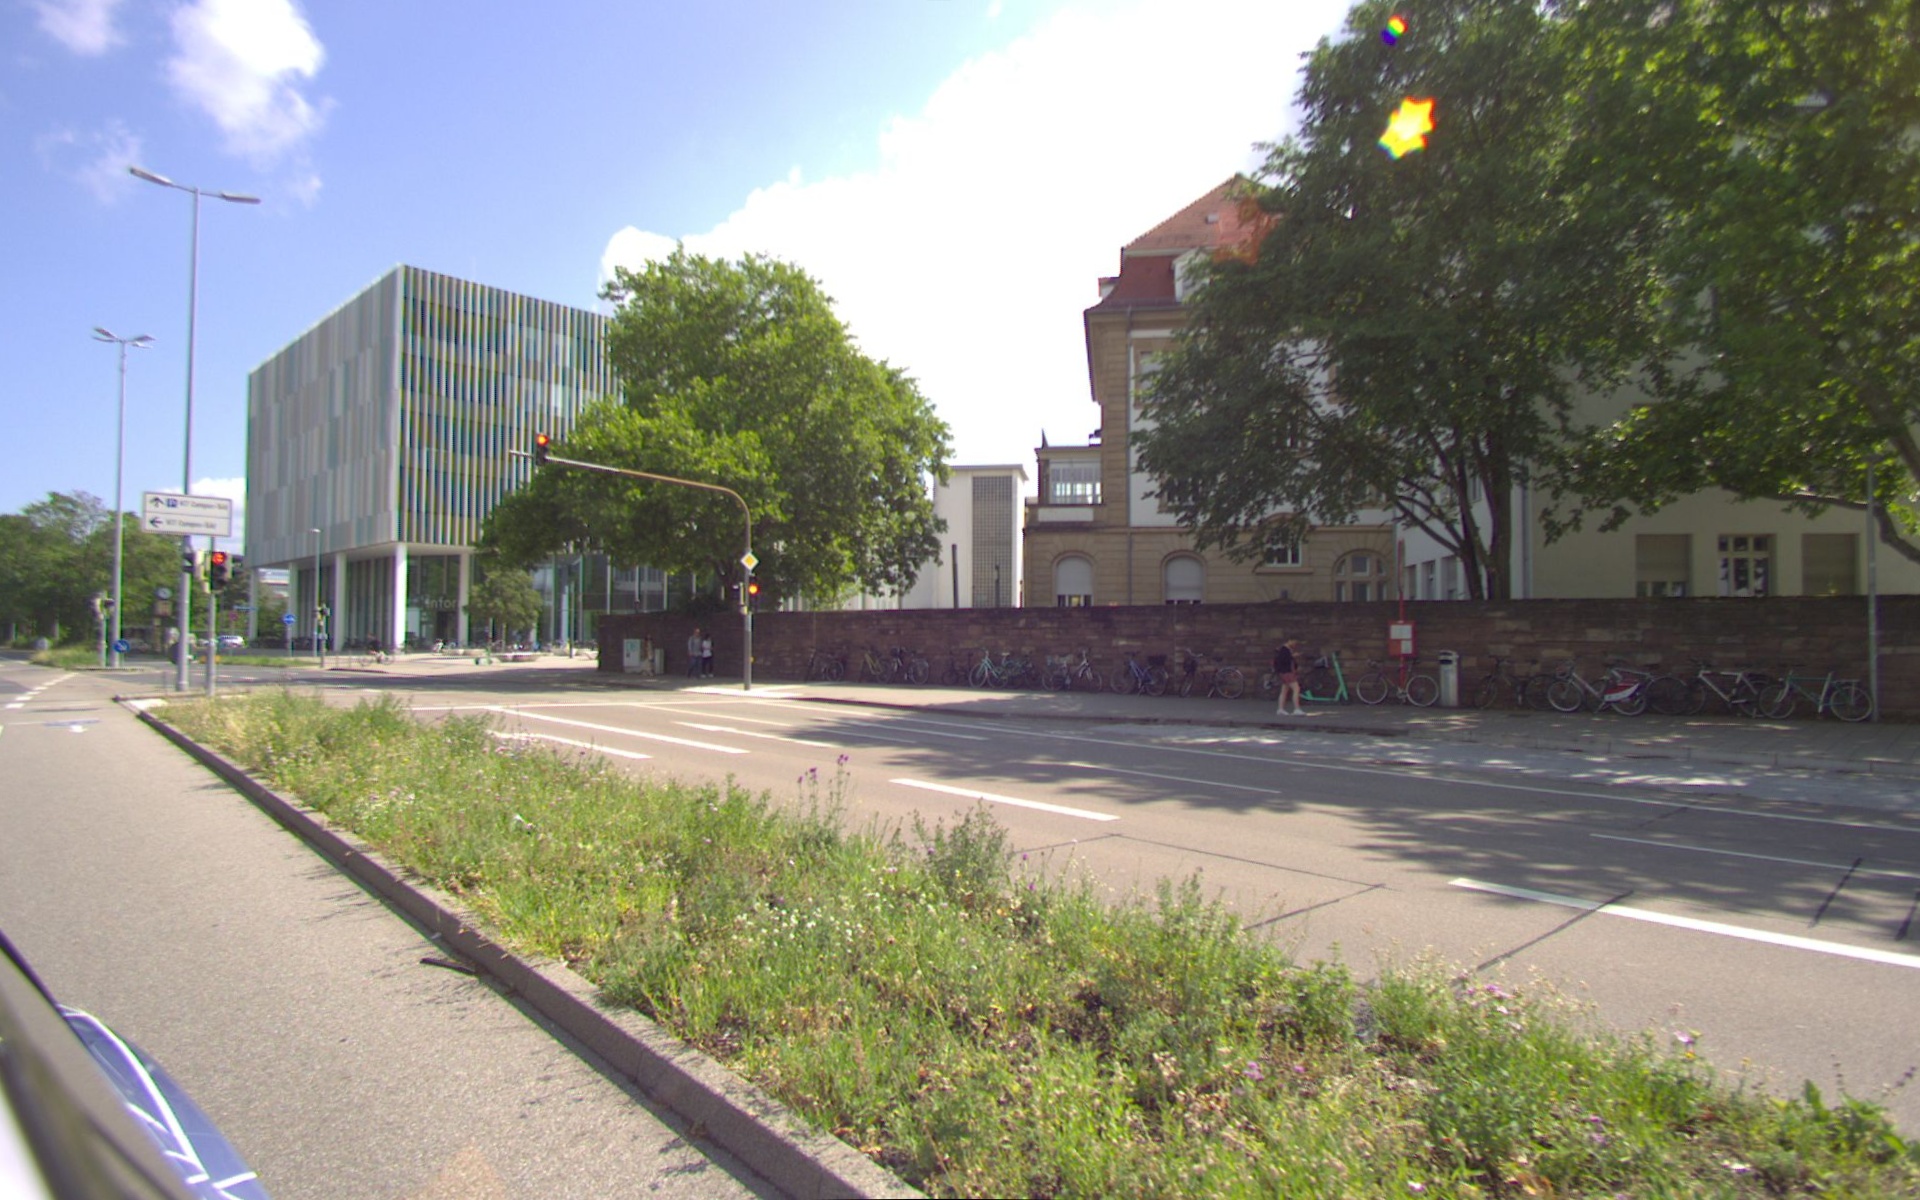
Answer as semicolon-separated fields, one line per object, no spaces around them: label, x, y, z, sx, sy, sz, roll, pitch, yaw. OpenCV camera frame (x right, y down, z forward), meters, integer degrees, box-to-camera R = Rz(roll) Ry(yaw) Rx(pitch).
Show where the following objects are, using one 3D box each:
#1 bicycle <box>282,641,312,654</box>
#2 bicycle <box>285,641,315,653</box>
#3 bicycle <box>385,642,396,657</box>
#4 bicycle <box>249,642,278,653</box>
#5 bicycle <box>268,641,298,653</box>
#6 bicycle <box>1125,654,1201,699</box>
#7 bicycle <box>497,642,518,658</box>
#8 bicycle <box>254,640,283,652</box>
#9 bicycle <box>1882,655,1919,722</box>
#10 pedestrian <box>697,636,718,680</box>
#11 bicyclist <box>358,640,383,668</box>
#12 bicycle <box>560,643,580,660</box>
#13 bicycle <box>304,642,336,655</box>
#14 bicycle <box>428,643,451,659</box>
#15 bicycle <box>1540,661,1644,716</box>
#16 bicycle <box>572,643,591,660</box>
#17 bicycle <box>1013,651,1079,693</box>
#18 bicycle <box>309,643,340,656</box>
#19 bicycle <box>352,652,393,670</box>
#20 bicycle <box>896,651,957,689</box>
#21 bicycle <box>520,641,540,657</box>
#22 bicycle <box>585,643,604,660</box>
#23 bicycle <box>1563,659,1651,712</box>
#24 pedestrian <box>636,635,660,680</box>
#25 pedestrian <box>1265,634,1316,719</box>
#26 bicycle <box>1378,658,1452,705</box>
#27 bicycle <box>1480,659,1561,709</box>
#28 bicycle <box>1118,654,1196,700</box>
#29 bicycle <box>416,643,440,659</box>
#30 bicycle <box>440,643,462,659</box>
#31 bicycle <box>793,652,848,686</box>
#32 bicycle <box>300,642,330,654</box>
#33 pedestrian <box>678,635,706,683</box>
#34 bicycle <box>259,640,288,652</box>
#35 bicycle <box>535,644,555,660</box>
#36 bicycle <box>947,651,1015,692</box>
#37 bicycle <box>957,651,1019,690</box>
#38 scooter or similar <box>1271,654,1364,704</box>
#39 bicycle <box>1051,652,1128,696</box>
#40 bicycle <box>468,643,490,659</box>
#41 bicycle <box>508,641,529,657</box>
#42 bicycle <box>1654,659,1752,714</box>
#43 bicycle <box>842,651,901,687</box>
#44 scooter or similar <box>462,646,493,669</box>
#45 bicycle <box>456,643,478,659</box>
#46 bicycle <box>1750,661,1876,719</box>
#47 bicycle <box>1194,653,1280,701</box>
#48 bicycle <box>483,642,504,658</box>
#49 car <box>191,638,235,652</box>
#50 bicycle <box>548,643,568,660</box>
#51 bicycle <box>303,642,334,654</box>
bicycle;-60.025;4.289;91.625;0.722;1.105;2.189;-2;-3;39
bicycle;-59.433;4.243;91.147;0.722;1.105;2.189;-2;-3;39
bicycle;-40.959;3.555;72.729;0.539;1.105;1.638;2;-3;-34
bicycle;-69.305;4.746;100.713;0.722;1.105;2.189;-2;-3;39
bicycle;-63.819;4.423;95.429;0.722;1.105;2.189;-2;-3;39
bicycle;5.000;1.883;25.004;1.878;1.056;0.390;-2;-3;38
bicycle;-32.050;3.525;71.676;0.711;1.105;2.221;0;-2;-7
bicycle;-66.656;4.412;97.626;0.722;1.098;2.189;-2;-3;39
bicycle;16.408;1.458;16.617;1.749;1.081;0.578;-1;-3;32
pedestrian;-8.974;2.045;35.965;0.616;1.552;0.471;-2;-3;41
bicyclist;-31.170;2.839;53.524;0.931;1.475;0.633;0;-3;-12
bicycle;-27.575;3.638;71.568;0.735;1.199;2.322;0;-2;-7
bicycle;-55.689;4.224;88.086;0.722;1.105;2.189;-2;-3;39
bicycle;-37.211;3.617;72.387;0.711;1.105;2.221;0;-2;-7
bicycle;11.828;1.634;18.987;0.361;0.962;1.629;1;-3;-34
bicycle;-26.696;3.625;71.443;0.735;1.199;2.322;0;-2;-7
bicycle;2.285;1.910;27.067;1.878;1.056;0.366;-2;-3;38
bicycle;-54.930;4.236;87.492;0.755;1.105;2.189;-2;-3;39
bicycle;-31.069;3.224;53.529;1.746;0.899;0.639;0;-3;-12
bicycle;-0.986;2.035;29.579;1.878;1.056;0.559;-2;-3;38
bicycle;-30.522;3.494;71.822;0.711;1.105;2.221;0;-2;-7
bicycle;-25.838;3.616;71.612;0.735;1.199;2.322;0;-2;-7
bicycle;12.440;1.637;19.496;1.397;0.962;0.363;-1;-3;32
pedestrian;-11.593;2.134;37.629;0.727;1.664;0.554;-2;-3;41
pedestrian;6.512;1.486;19.937;0.744;1.622;0.649;-2;-2;39
bicycle;9.664;1.720;21.529;1.397;0.962;0.363;-1;-3;32
bicycle;11.255;1.672;20.338;1.397;0.962;0.363;-1;-3;32
bicycle;4.785;1.862;24.668;1.878;1.056;0.369;-2;-3;38
bicycle;-37.954;3.615;72.225;0.711;1.105;2.221;0;-2;-7
bicycle;-36.470;3.635;72.569;0.711;1.105;2.221;0;-2;-7
bicycle;-4.473;2.187;32.378;1.878;1.056;0.624;-2;-3;38
bicycle;-57.473;4.277;90.187;0.722;1.105;2.189;-2;-3;39
pedestrian;-9.413;2.052;35.494;0.731;1.664;0.634;-2;-3;41
bicycle;-65.625;4.418;96.777;0.722;1.105;2.189;-2;-3;39
bicycle;-29.461;3.670;71.845;0.735;1.146;2.322;0;-2;-7
bicycle;0.570;1.945;27.723;1.878;1.056;0.586;-2;-3;38
bicycle;0.766;1.958;28.293;1.878;1.056;0.366;-2;-3;38
scooter or similar;7.987;1.746;22.637;1.878;1.056;0.574;-2;-3;38
bicycle;3.316;1.877;25.854;1.868;1.056;0.589;-1;-2;22
bicycle;-34.332;3.612;72.267;0.711;1.105;2.221;0;-2;-7
bicycle;-31.267;3.495;71.716;0.711;1.105;2.221;0;-2;-7
bicycle;13.667;1.573;18.659;1.397;0.962;0.363;-1;-3;32
bicycle;-2.703;2.088;30.948;1.878;1.056;0.624;-2;-3;38
scooter or similar;-24.112;2.865;50.623;0.499;1.166;1.493;-1;-3;19
bicycle;-35.177;3.608;72.180;0.711;1.105;2.221;0;-2;-7
bicycle;14.916;1.565;17.747;1.621;0.962;0.367;-1;-3;32
bicycle;6.506;1.800;23.825;1.878;1.056;0.574;-2;-3;38
bicycle;-32.962;3.516;71.555;0.711;1.105;2.221;0;-2;-7
car;-88.280;5.318;119.665;3.940;1.699;1.647;2;-3;-44
bicycle;-28.411;3.650;71.538;0.735;1.199;2.322;0;-2;-7
bicycle;-56.500;4.223;89.158;0.734;1.105;2.189;-2;-3;39
